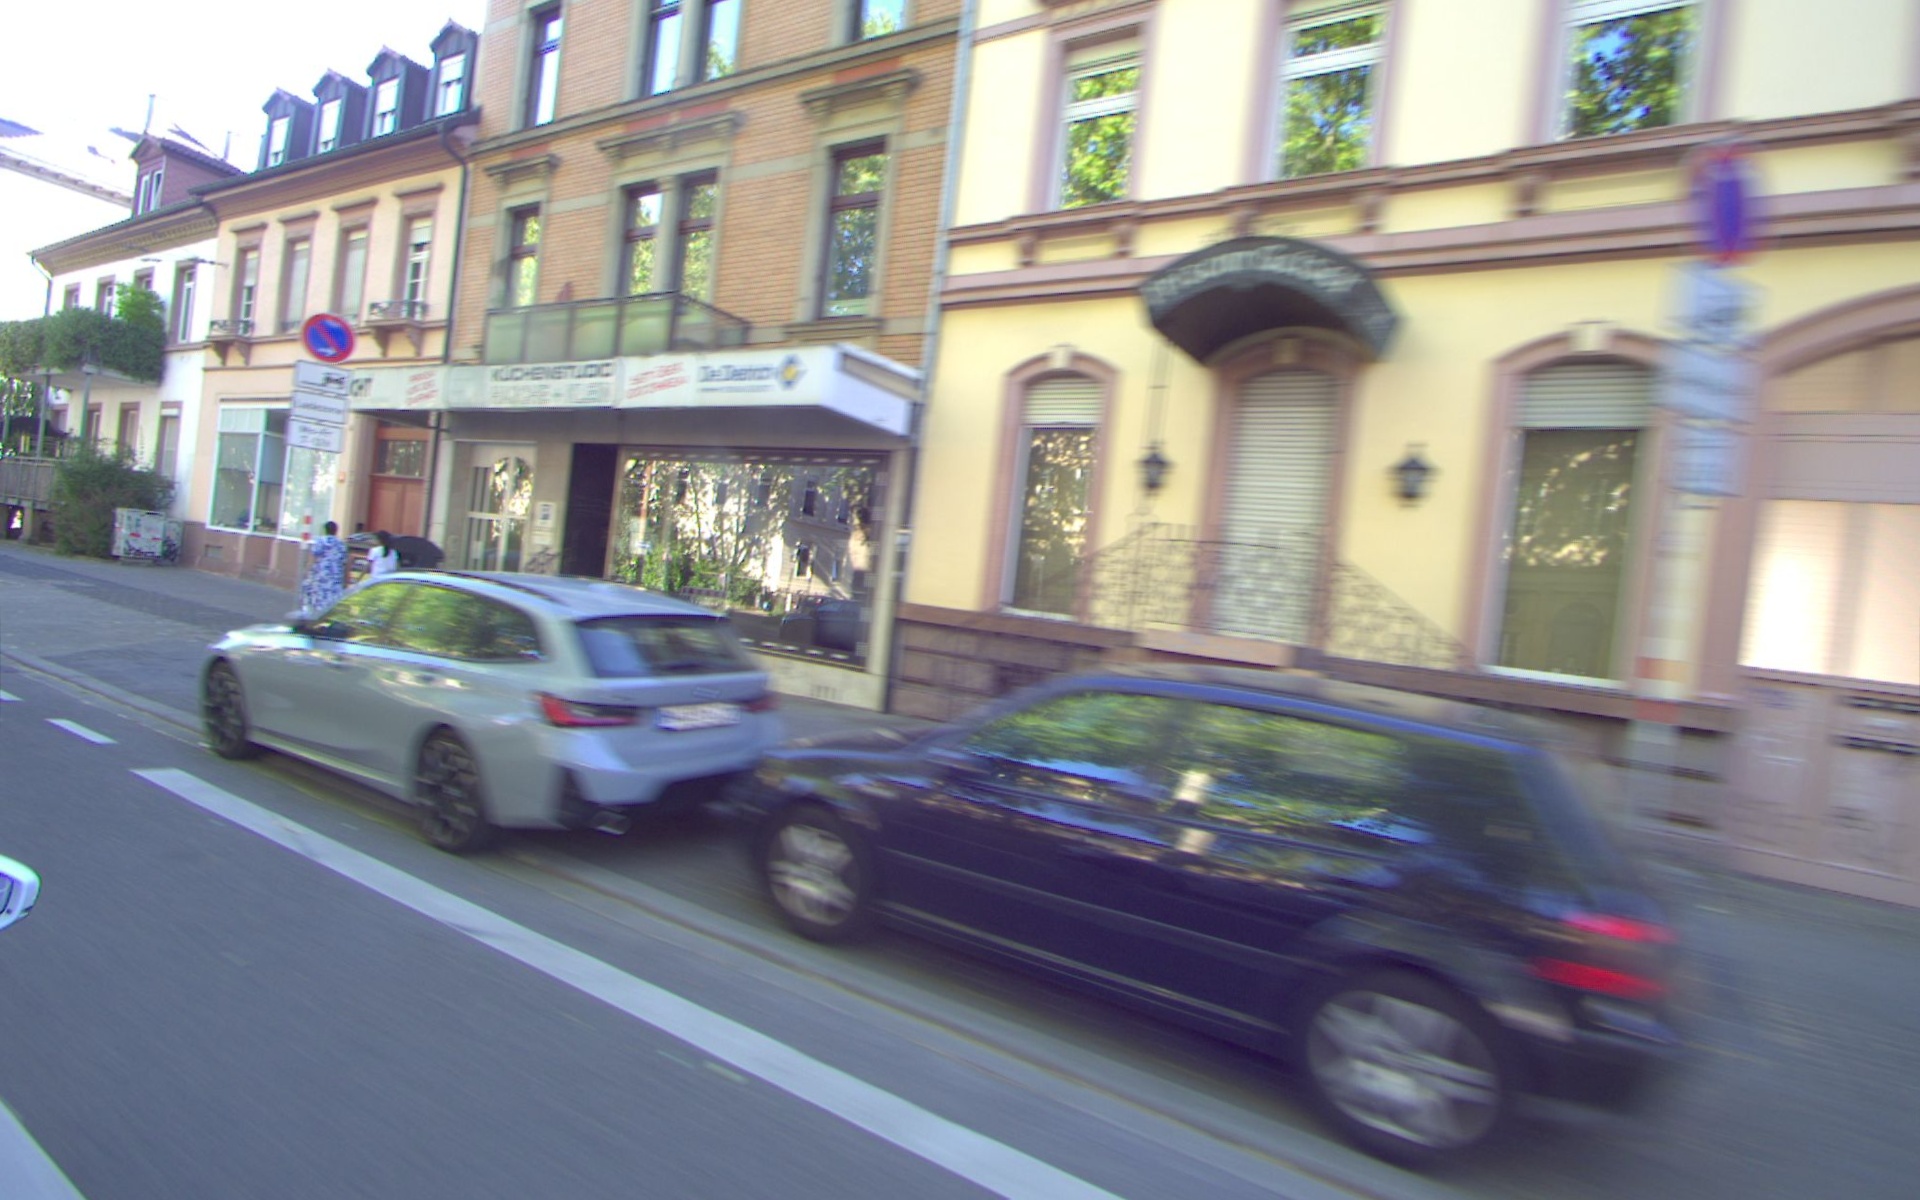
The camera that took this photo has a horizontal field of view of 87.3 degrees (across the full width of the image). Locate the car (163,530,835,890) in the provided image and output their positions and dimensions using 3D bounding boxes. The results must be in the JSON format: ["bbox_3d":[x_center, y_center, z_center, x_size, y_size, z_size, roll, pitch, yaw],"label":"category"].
[{"bbox_3d":[-3.230,0.476,6.674,4.589,1.453,1.810,6,1,33],"label":"car"}]

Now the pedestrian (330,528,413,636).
[{"bbox_3d":[-8.766,-0.265,14.985,0.772,1.501,0.658,6,0,33],"label":"pedestrian"}]

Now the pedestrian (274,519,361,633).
[{"bbox_3d":[-9.232,-0.343,14.456,0.852,1.524,0.660,6,1,33],"label":"pedestrian"}]

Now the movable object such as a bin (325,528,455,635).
[{"bbox_3d":[-9.382,-0.300,16.583,1.265,1.538,1.295,6,-1,33],"label":"movable object such as a bin"}]

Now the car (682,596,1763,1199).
[{"bbox_3d":[0.809,0.892,4.416,3.964,1.453,1.644,6,3,33],"label":"car"}]
